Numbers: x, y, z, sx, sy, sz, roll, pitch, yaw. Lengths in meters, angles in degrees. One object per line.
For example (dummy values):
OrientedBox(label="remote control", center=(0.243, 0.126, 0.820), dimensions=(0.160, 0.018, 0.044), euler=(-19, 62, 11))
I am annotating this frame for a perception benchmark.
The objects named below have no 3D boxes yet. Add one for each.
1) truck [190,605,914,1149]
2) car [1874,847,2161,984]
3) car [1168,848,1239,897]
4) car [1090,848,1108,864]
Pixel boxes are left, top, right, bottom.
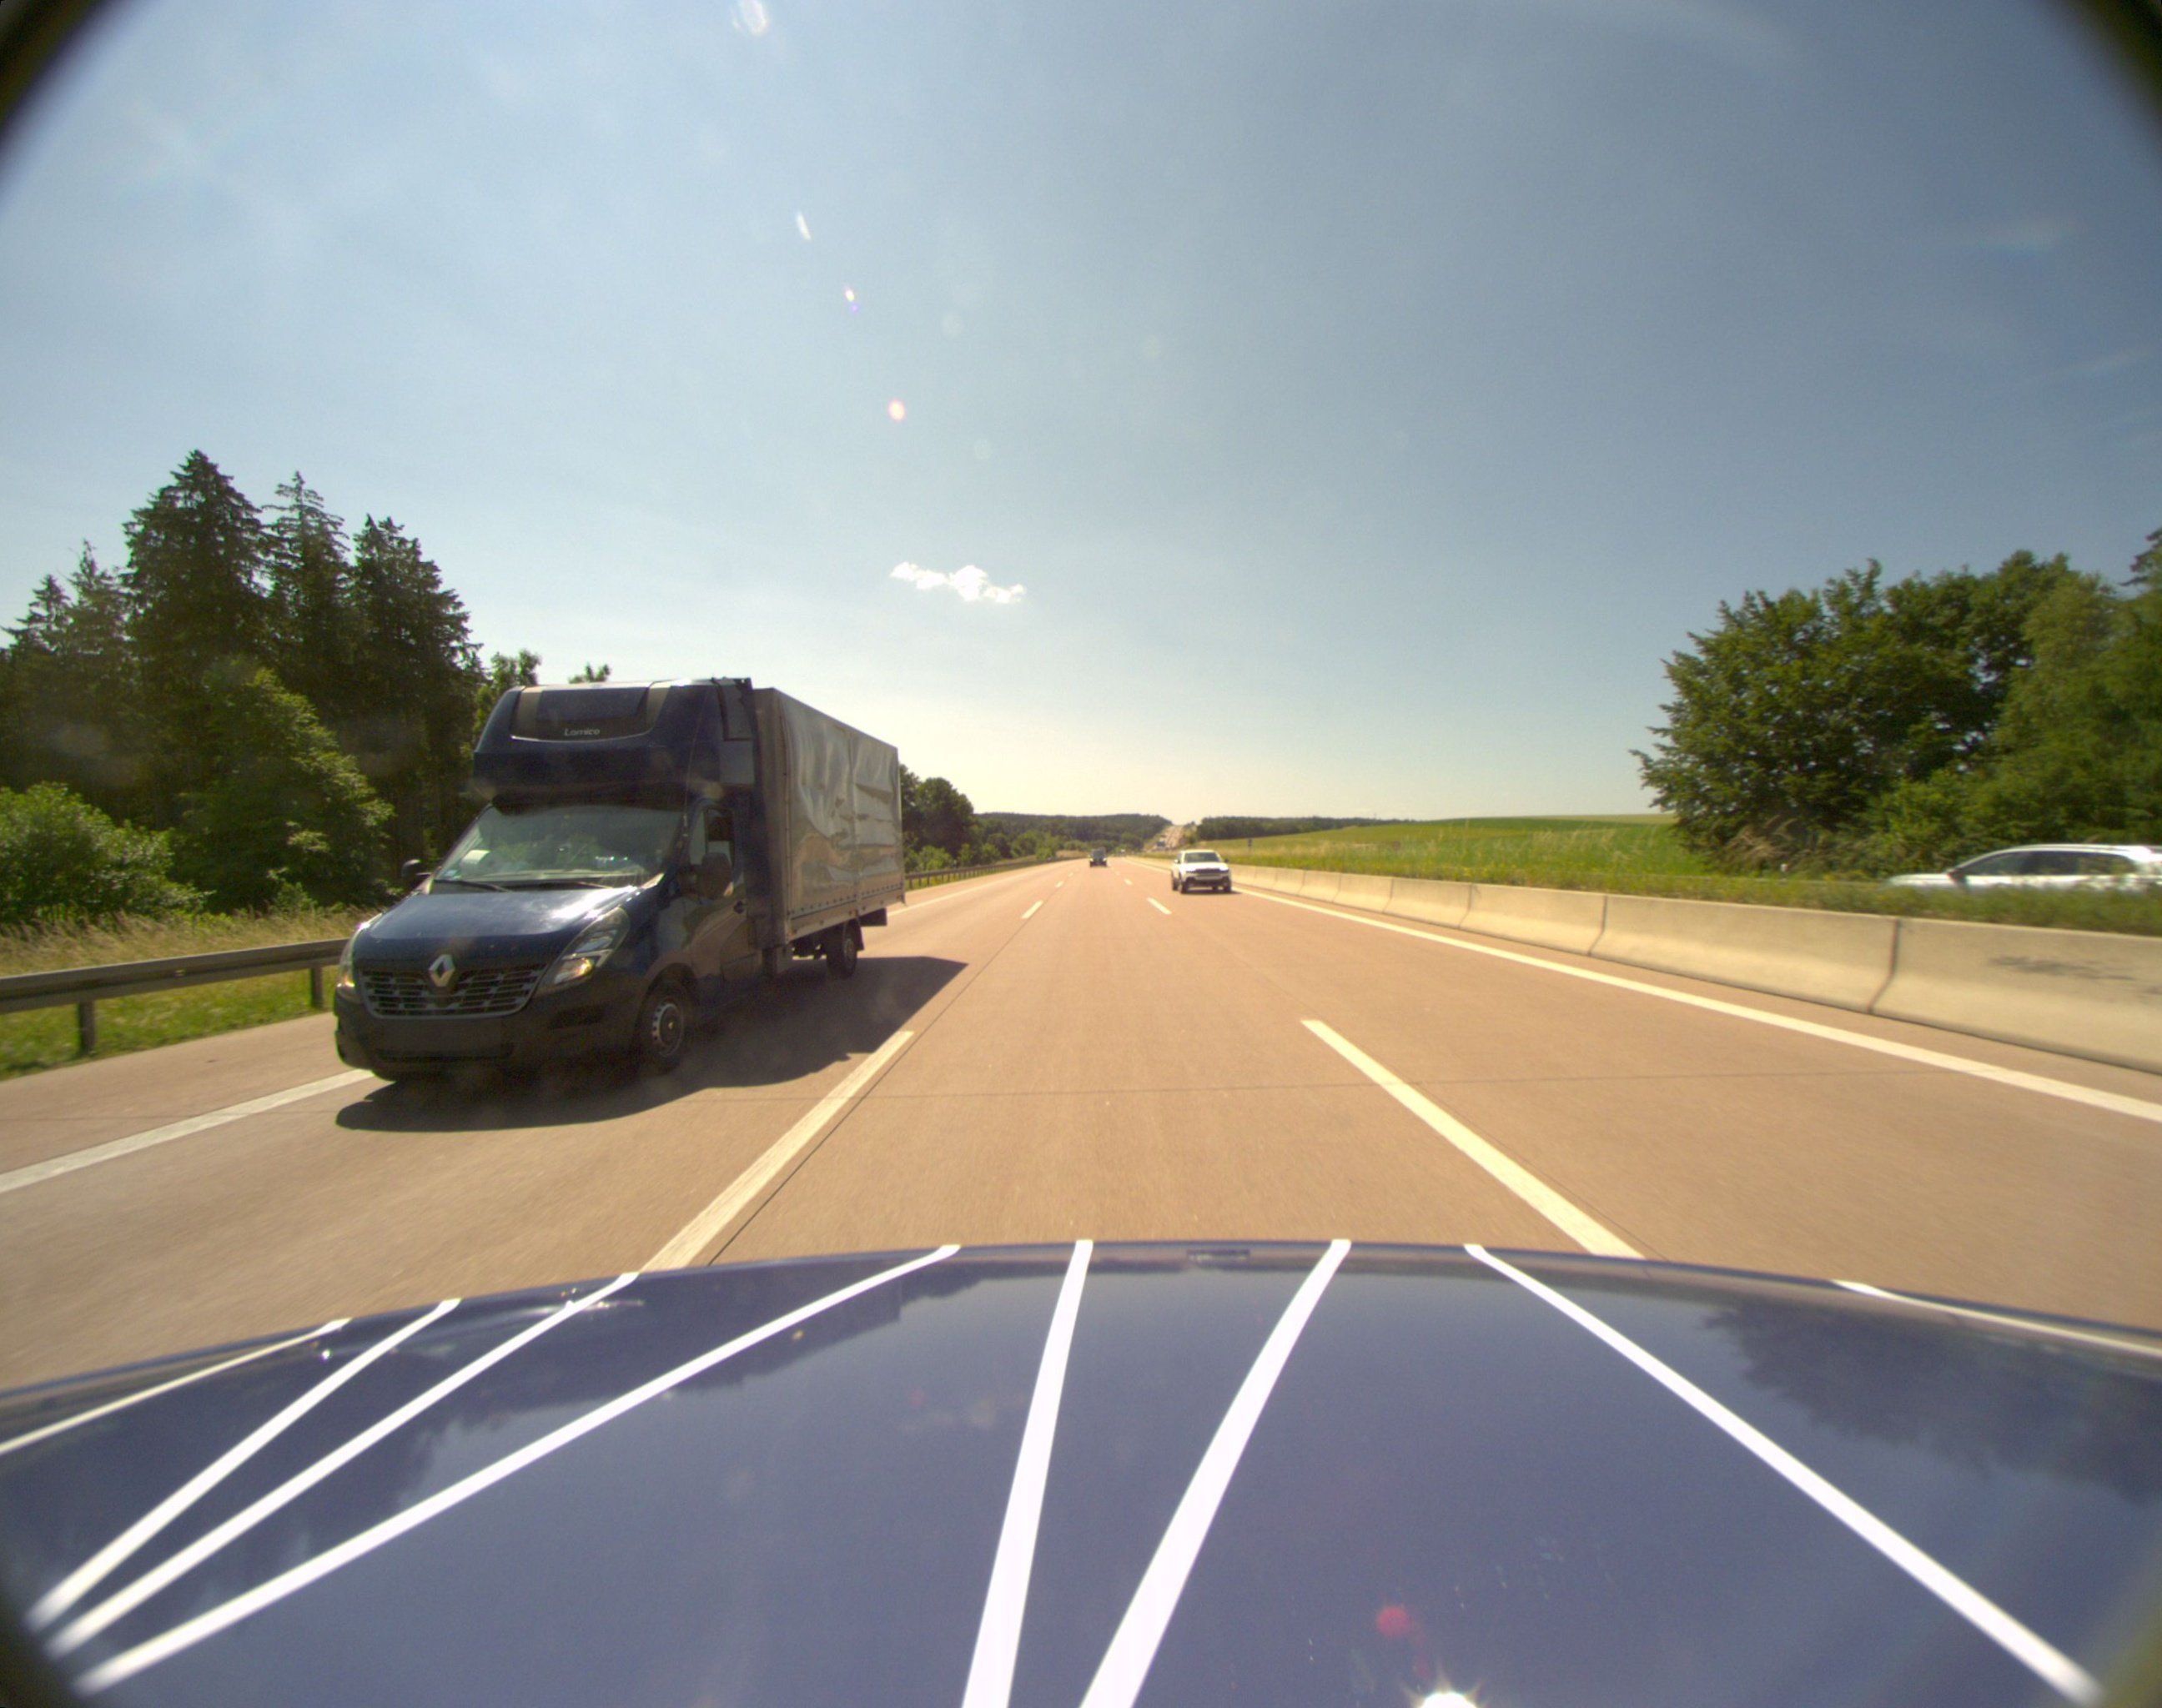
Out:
OrientedBox(label="truck", center=(-4.012, 0.121, 8.452), dimensions=(2.508, 3.200, 7.783), euler=(-1, 0, 0))
OrientedBox(label="car", center=(15.943, 0.850, 11.772), dimensions=(1.896, 1.852, 5.102), euler=(-2, 0, -2))
OrientedBox(label="car", center=(4.433, 0.609, 28.136), dimensions=(1.883, 1.598, 4.833), euler=(-2, 1, 1))
OrientedBox(label="car", center=(2.031, 0.202, 85.595), dimensions=(1.998, 1.805, 4.564), euler=(-2, 0, 1))
